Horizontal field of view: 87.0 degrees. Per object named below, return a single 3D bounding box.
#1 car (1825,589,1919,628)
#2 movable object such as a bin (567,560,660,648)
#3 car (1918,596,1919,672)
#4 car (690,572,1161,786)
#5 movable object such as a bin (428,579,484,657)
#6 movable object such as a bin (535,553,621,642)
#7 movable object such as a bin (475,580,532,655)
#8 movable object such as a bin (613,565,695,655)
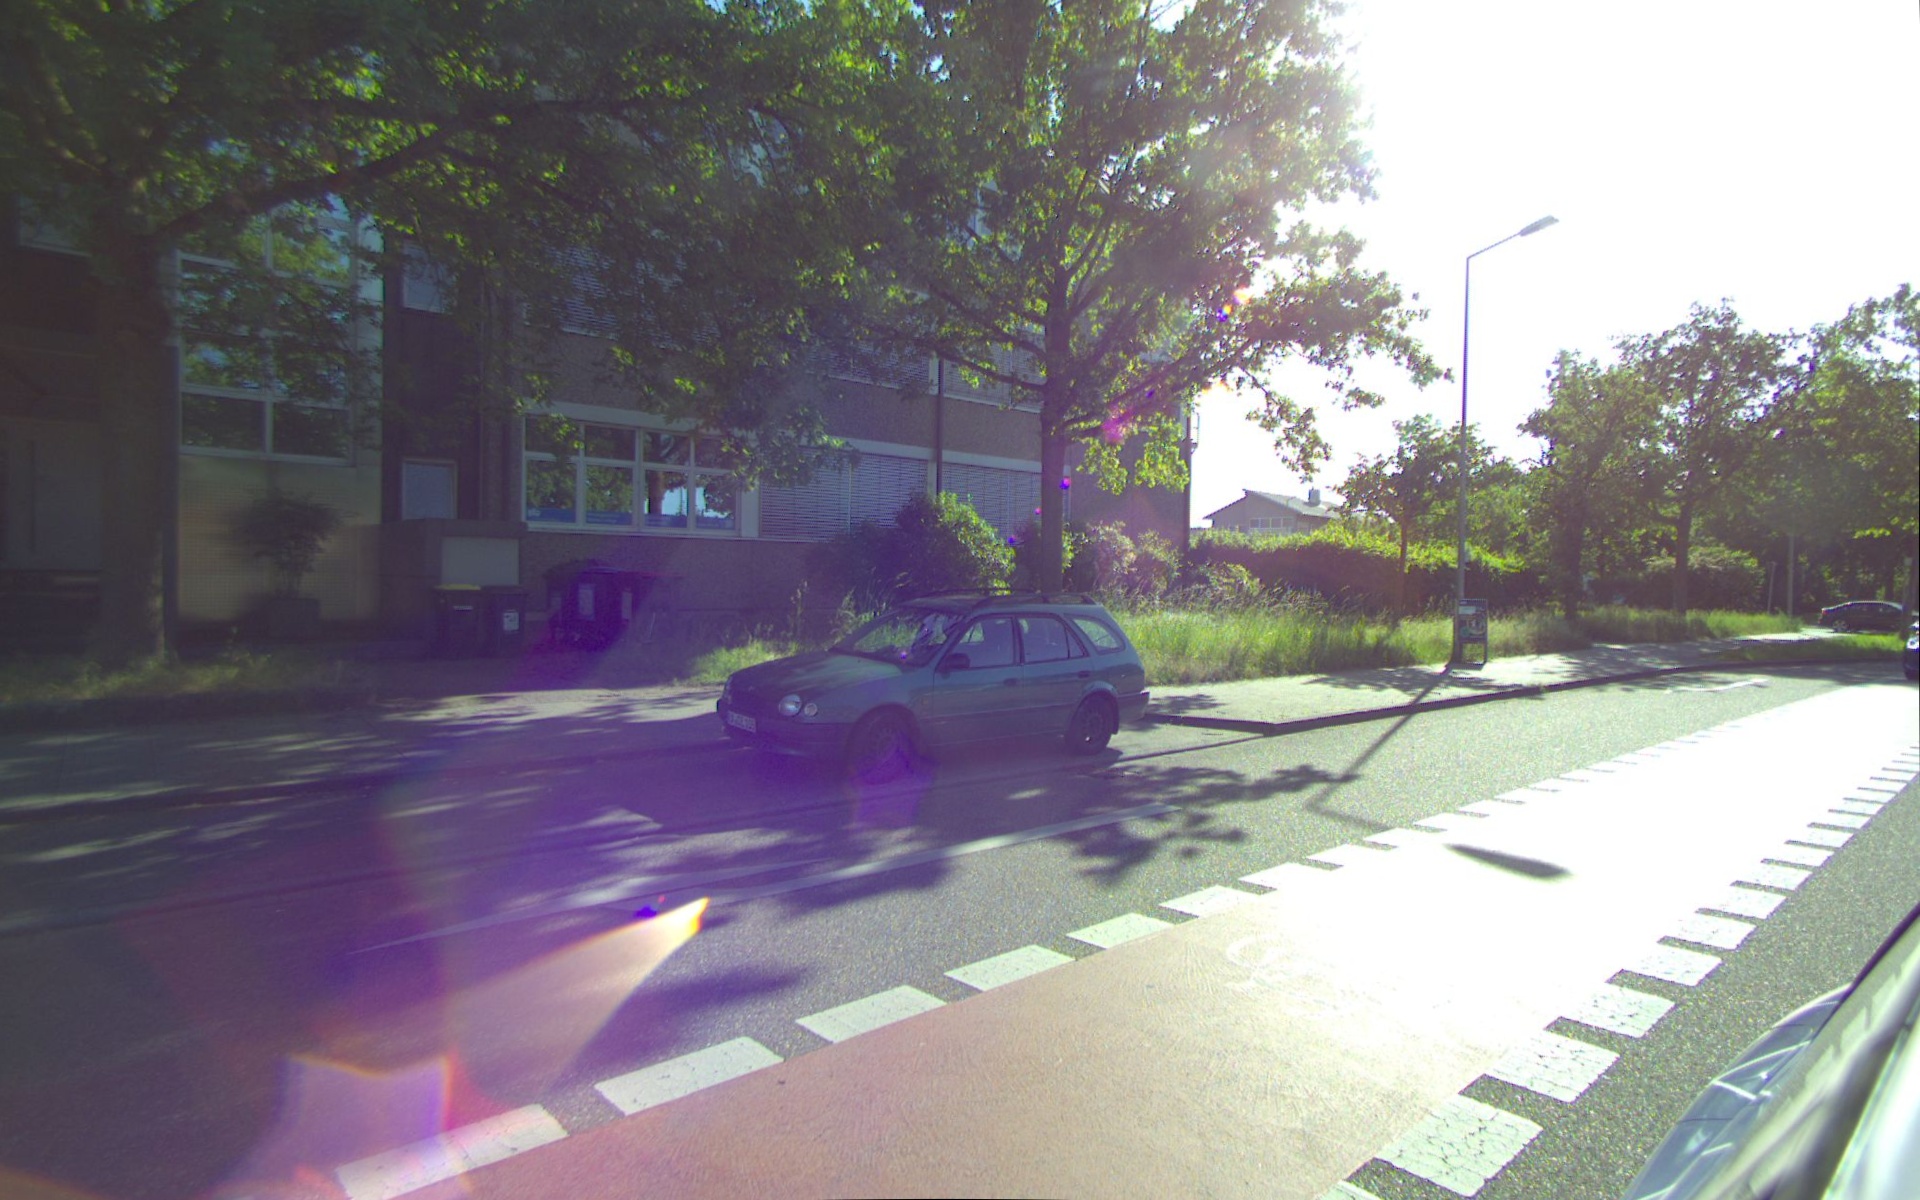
[{"bbox_3d":[40.447,0.368,43.585,1.859,1.538,4.495,0,2,-29],"label":"car"},{"bbox_3d":[-5.774,0.042,16.864,1.070,1.388,1.186,0,2,-43],"label":"movable object such as a bin"},{"bbox_3d":[20.672,0.666,20.085,3.865,1.487,1.655,0,0,-34],"label":"car"},{"bbox_3d":[-0.148,0.573,9.136,4.068,1.487,1.705,1,1,-41],"label":"car"},{"bbox_3d":[-7.217,0.244,14.500,0.575,1.070,0.625,0,1,-42],"label":"movable object such as a bin"},{"bbox_3d":[-6.784,-0.075,17.944,1.024,1.501,1.309,0,2,-41],"label":"movable object such as a bin"},{"bbox_3d":[-6.762,0.239,14.981,0.604,1.075,0.634,0,1,-42],"label":"movable object such as a bin"},{"bbox_3d":[-4.784,0.124,15.777,0.878,1.323,1.186,0,2,-37],"label":"movable object such as a bin"}]
